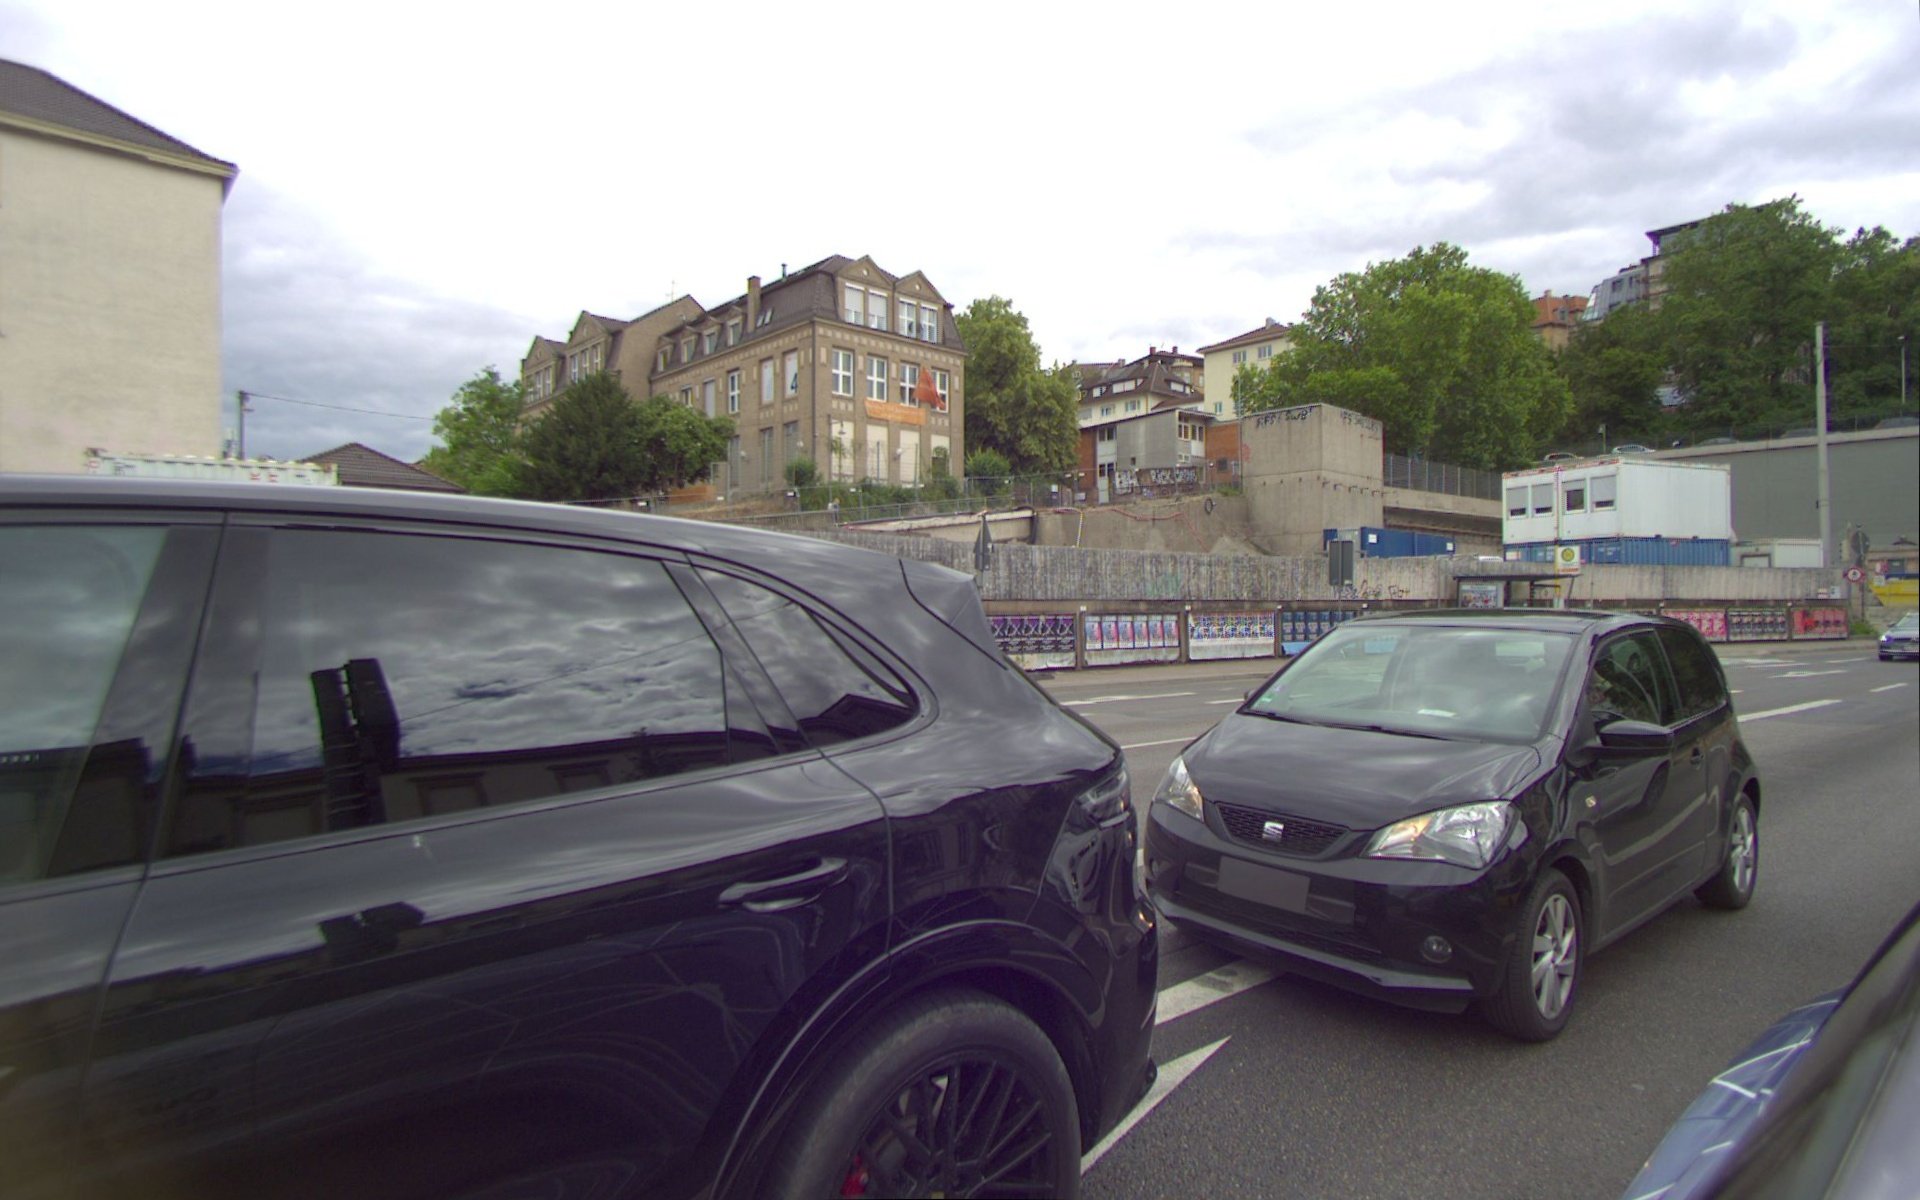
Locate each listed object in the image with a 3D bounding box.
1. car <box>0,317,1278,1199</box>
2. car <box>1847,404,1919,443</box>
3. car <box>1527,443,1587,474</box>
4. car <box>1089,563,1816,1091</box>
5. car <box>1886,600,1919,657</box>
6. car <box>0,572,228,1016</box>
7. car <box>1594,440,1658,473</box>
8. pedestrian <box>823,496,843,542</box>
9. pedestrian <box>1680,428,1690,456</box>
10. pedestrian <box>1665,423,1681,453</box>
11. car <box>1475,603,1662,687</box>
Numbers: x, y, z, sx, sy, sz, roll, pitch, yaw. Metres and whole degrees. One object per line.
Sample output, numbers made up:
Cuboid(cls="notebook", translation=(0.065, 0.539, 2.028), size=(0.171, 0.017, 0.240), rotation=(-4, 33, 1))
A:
Cuboid(cls="car", translation=(-1.620, 0.582, 1.701), size=(4.552, 1.707, 1.959), rotation=(0, -1, -40))
Cuboid(cls="car", translation=(64.160, -12.195, 70.045), size=(1.966, 2.039, 3.991), rotation=(0, 1, -43))
Cuboid(cls="car", translation=(50.256, -11.913, 85.225), size=(3.988, 2.039, 1.968), rotation=(0, 1, 45))
Cuboid(cls="car", translation=(2.529, 0.658, 4.786), size=(3.812, 1.515, 1.667), rotation=(0, -1, -40))
Cuboid(cls="car", translation=(28.953, 0.803, 29.602), size=(4.566, 1.591, 1.827), rotation=(0, 0, -36))
Cuboid(cls="car", translation=(-4.881, 0.692, 3.419), size=(3.812, 1.563, 1.667), rotation=(0, -1, -40))
Cuboid(cls="car", translation=(53.572, -11.507, 81.436), size=(3.988, 2.039, 1.968), rotation=(0, 1, 45))
Cuboid(cls="pedestrian", translation=(-5.842, -3.726, 46.570), size=(0.656, 2.039, 0.644), rotation=(0, 0, -45))
Cuboid(cls="pedestrian", translation=(56.892, -12.402, 79.388), size=(0.568, 2.039, 0.580), rotation=(0, 0, -44))
Cuboid(cls="pedestrian", translation=(54.021, -12.271, 76.639), size=(0.891, 2.039, 0.849), rotation=(0, -1, -45))
Cuboid(cls="car", translation=(12.203, 0.834, 20.235), size=(3.922, 1.498, 1.665), rotation=(0, 0, -33))
